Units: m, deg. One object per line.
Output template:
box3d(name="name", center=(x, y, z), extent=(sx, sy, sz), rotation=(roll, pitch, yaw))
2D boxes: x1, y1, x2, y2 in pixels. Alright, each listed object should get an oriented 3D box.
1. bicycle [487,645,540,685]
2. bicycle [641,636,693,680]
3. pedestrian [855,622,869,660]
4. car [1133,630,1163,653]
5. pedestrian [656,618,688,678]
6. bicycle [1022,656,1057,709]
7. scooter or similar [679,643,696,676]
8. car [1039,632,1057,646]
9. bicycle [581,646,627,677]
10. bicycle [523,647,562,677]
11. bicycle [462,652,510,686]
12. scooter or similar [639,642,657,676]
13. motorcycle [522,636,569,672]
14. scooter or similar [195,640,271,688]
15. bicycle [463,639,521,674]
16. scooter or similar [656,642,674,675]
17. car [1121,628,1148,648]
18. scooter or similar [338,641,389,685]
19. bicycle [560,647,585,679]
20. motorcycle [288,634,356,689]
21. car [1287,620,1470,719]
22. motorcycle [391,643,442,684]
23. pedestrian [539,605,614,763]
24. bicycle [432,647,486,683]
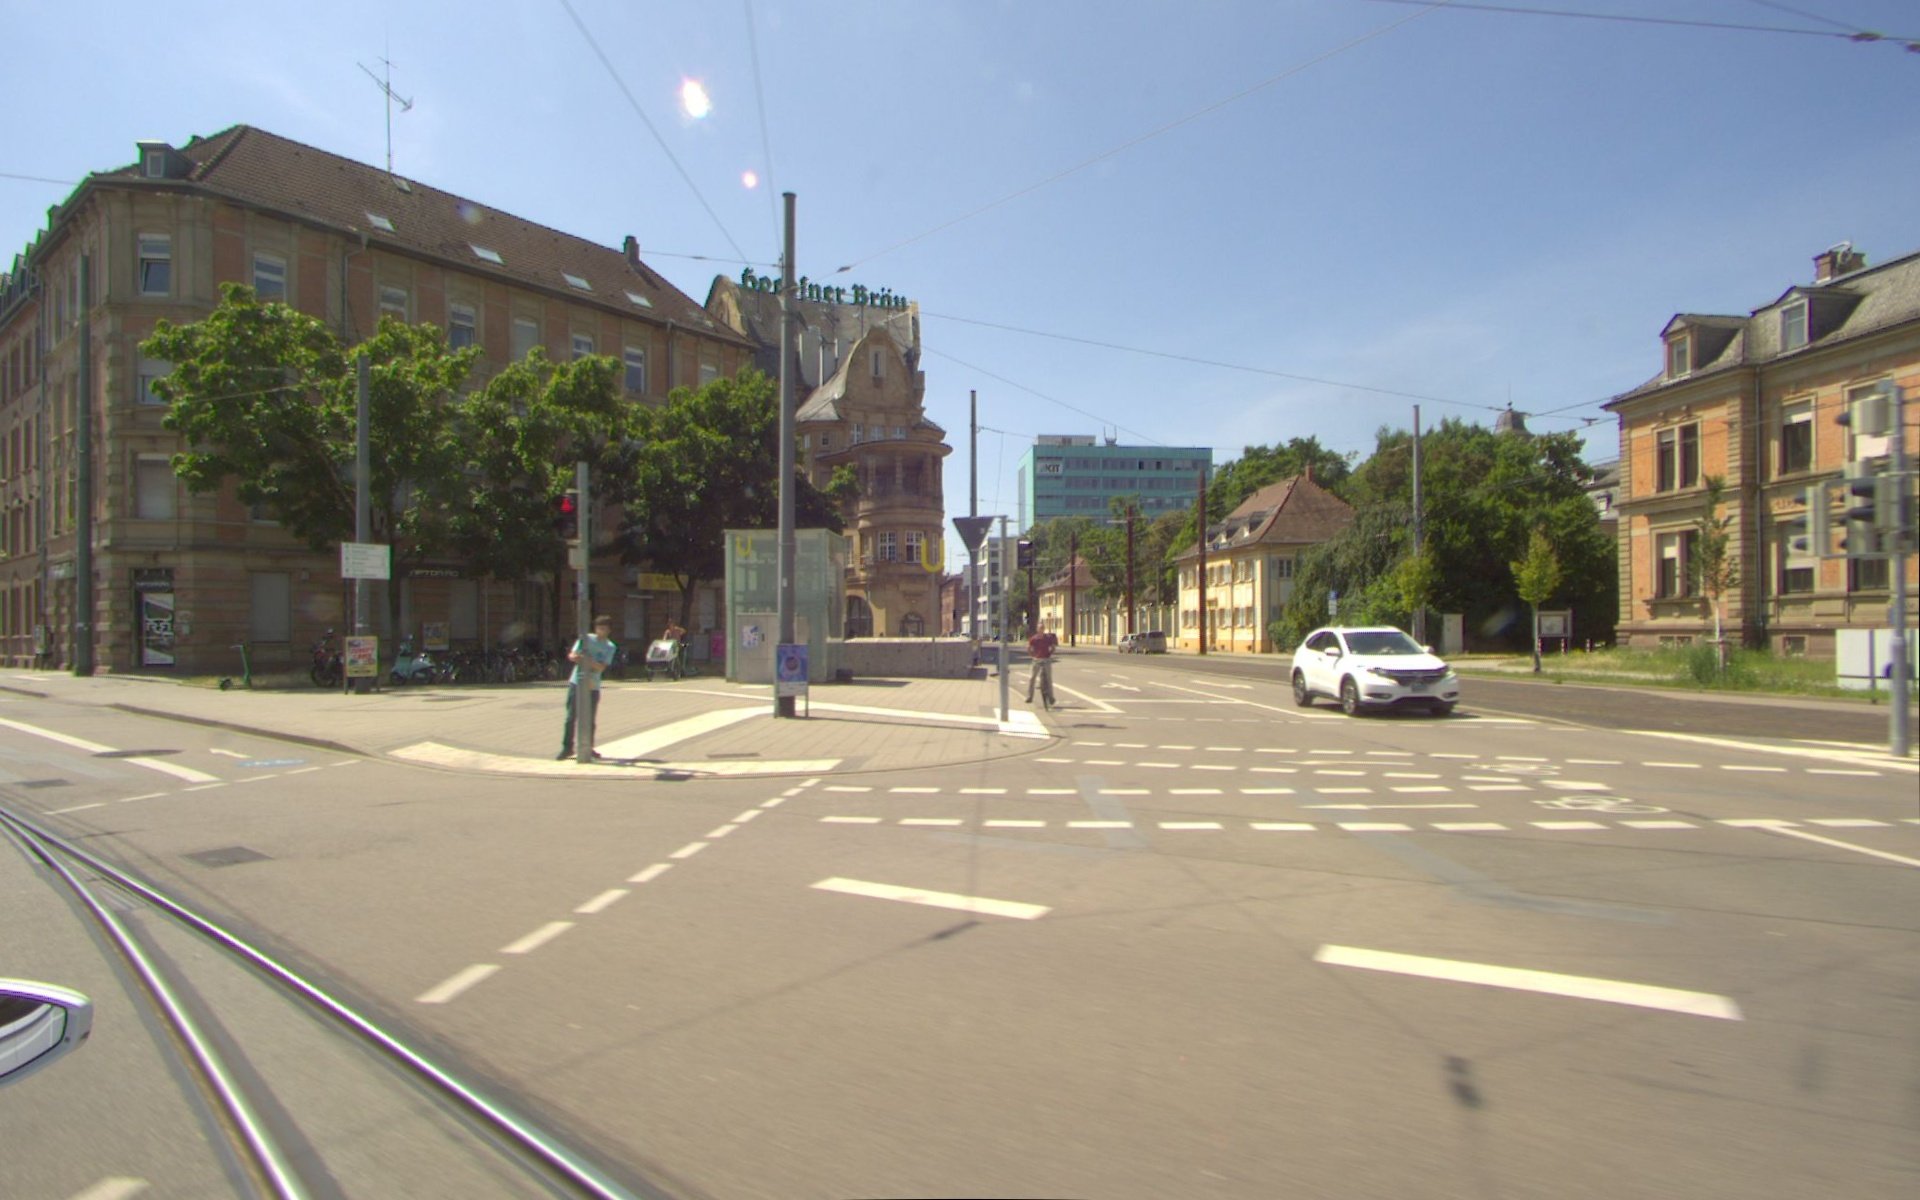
box3d(name="bicycle", center=(-13.679, 1.984, 30.656), extent=(1.814, 1.161, 0.643), rotation=(-1, -1, 35))
box3d(name="bicycle", center=(-8.804, 1.722, 30.205), extent=(1.078, 1.267, 2.221), rotation=(0, -1, -5))
box3d(name="pedestrian", center=(-4.548, 1.890, 46.377), extent=(0.602, 1.720, 0.586), rotation=(0, -1, -1))
box3d(name="car", center=(15.039, 3.293, 80.281), extent=(1.609, 1.805, 3.482), rotation=(0, -2, -2))
box3d(name="pedestrian", center=(-8.825, 1.478, 30.735), extent=(0.798, 1.798, 0.825), rotation=(-1, -1, -5))
box3d(name="bicycle", center=(1.680, 1.745, 21.394), extent=(0.712, 1.018, 2.020), rotation=(0, -1, 4))
box3d(name="scooter or similar", center=(-9.464, 2.064, 34.830), extent=(0.263, 1.140, 0.987), rotation=(0, -1, 5))
box3d(name="car", center=(10.890, 4.812, 124.223), extent=(1.660, 1.661, 3.582), rotation=(0, -2, -6))
box3d(name="bicycle", center=(-11.895, 2.035, 33.478), extent=(1.544, 1.004, 0.502), rotation=(-1, -1, 24))
box3d(name="bicycle", center=(-13.103, 1.936, 31.405), extent=(1.410, 0.917, 0.454), rotation=(-1, -1, 35))
box3d(name="bicycle", center=(-14.245, 2.055, 30.058), extent=(1.818, 0.978, 0.642), rotation=(-1, -1, 42))
box3d(name="scooter or similar", center=(-10.896, 2.051, 34.967), extent=(0.263, 1.140, 0.987), rotation=(0, -1, 5))
box3d(name="motorcycle", center=(-15.693, 2.020, 37.916), extent=(0.496, 1.306, 1.634), rotation=(-1, -1, 38))
box3d(name="scooter or similar", center=(-18.789, 1.636, 25.900), extent=(0.701, 1.170, 1.525), rotation=(0, -1, 10))
box3d(name="bicycle", center=(-17.094, 2.048, 36.630), extent=(0.704, 1.193, 1.872), rotation=(-1, -1, 32))
box3d(name="scooter or similar", center=(-10.359, 2.050, 35.127), extent=(0.263, 1.140, 0.987), rotation=(0, -1, 5))
box3d(name="car", center=(14.980, 3.226, 85.904), extent=(1.609, 1.688, 3.482), rotation=(0, -2, -2))
box3d(name="scooter or similar", center=(-16.383, 1.731, 27.491), extent=(1.359, 1.166, 0.600), rotation=(-2, -2, 29))
box3d(name="bicycle", center=(-12.540, 2.024, 32.397), extent=(0.451, 1.004, 1.420), rotation=(0, -1, -34))
box3d(name="motorcycle", center=(-16.801, 1.602, 26.359), extent=(2.565, 1.379, 0.760), rotation=(-2, -2, 40))
box3d(name="car", center=(7.591, 1.205, 18.628), extent=(1.675, 1.625, 4.178), rotation=(0, -2, 0))
box3d(name="motorcycle", center=(-15.330, 1.781, 28.232), extent=(1.727, 1.110, 0.688), rotation=(-2, -2, 40))
box3d(name="pedestrian", center=(-4.572, 0.978, 11.983), extent=(0.796, 1.802, 0.873), rotation=(0, -1, -19))
box3d(name="bicycle", center=(-14.776, 1.894, 29.511), extent=(2.057, 0.978, 0.642), rotation=(-1, -1, 40))
